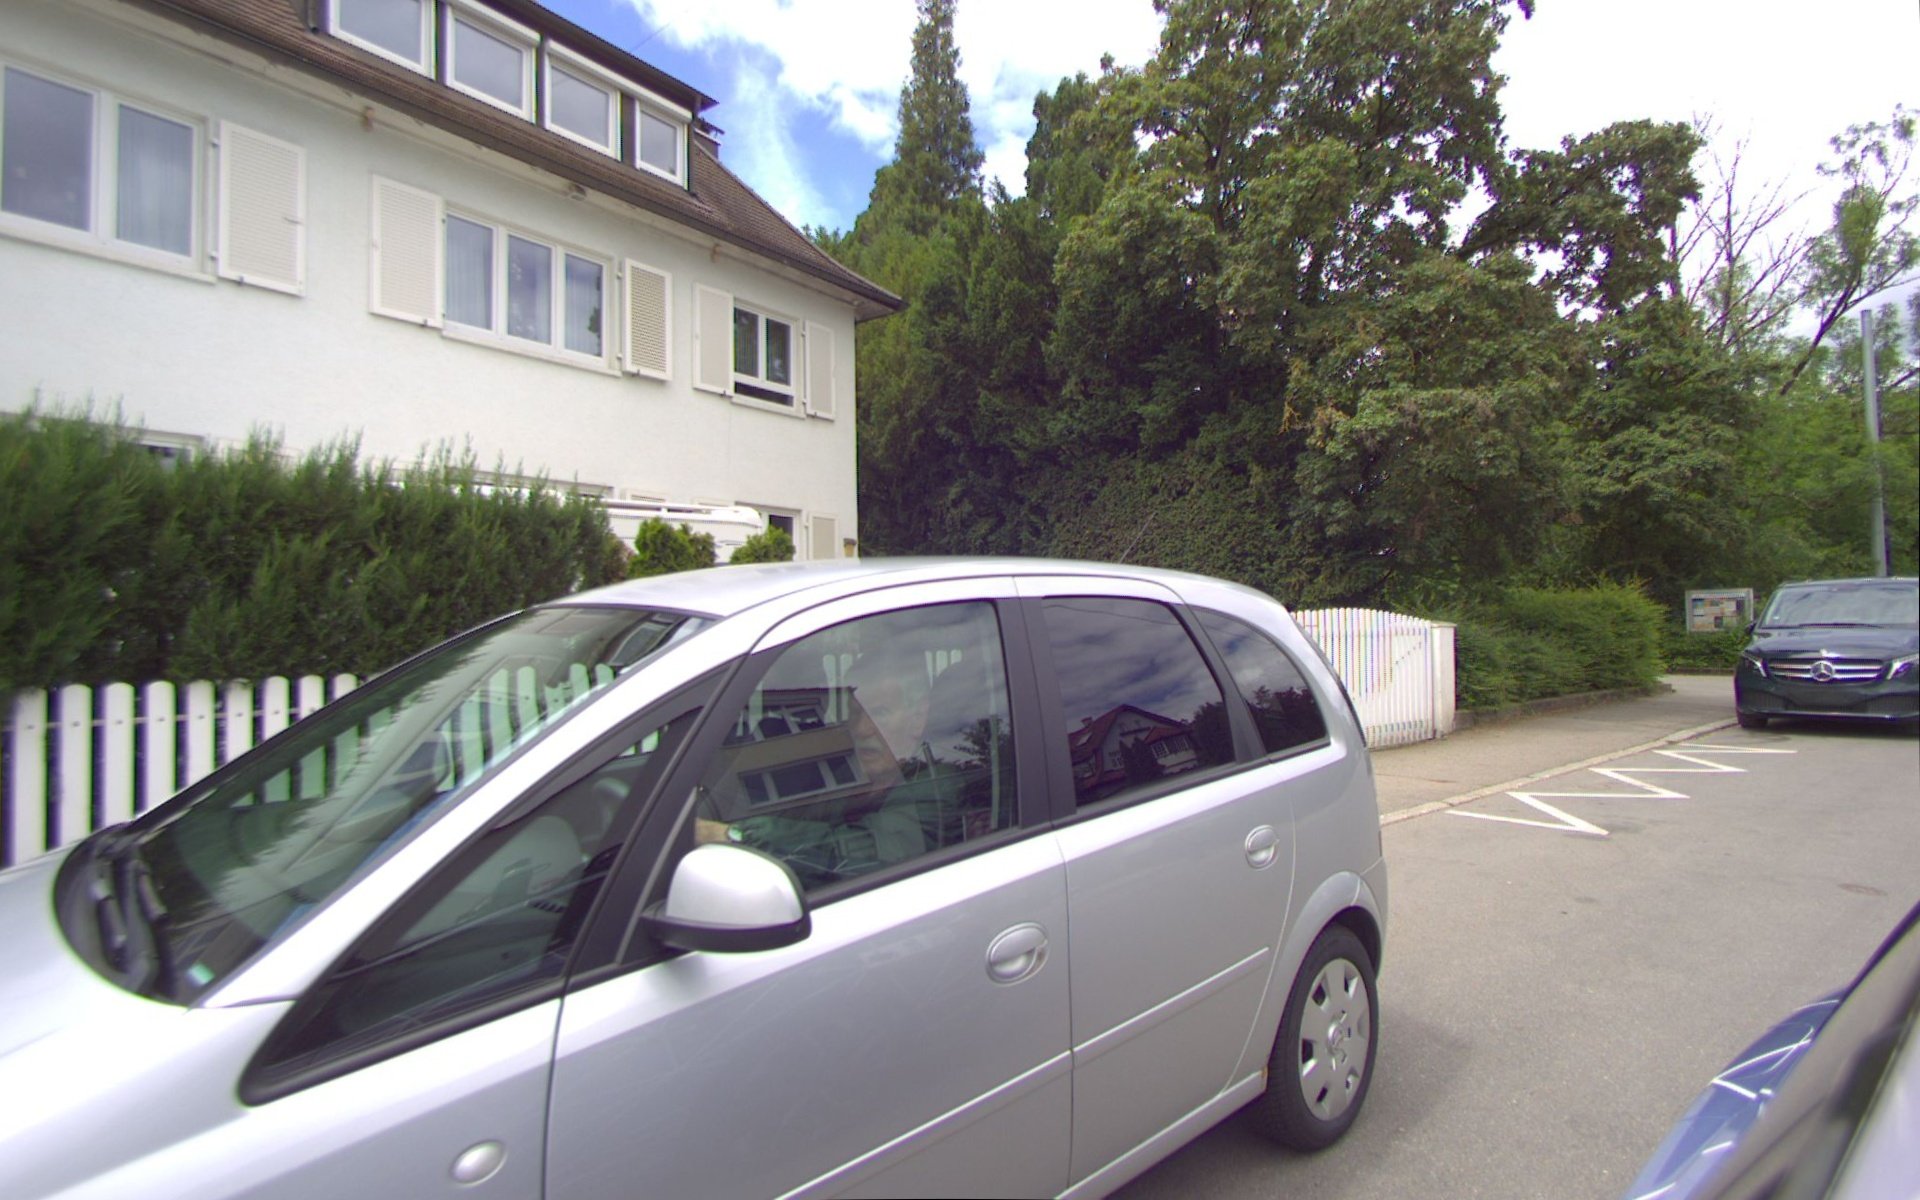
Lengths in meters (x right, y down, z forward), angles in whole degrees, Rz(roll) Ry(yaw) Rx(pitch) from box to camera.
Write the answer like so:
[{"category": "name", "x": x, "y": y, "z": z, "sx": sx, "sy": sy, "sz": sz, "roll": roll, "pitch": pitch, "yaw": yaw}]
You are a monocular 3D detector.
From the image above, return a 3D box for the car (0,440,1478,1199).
[{"category": "car", "x": -0.389, "y": 0.651, "z": 2.516, "sx": 3.951, "sy": 1.602, "sz": 1.761, "roll": 0, "pitch": 0, "yaw": -43}]

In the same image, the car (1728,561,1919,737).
[{"category": "car", "x": 11.692, "y": 0.526, "z": 12.875, "sx": 5.065, "sy": 1.872, "sz": 1.912, "roll": 0, "pitch": -2, "yaw": -40}]

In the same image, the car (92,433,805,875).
[{"category": "car", "x": -4.159, "y": 0.402, "z": 9.030, "sx": 2.492, "sy": 2.717, "sz": 5.113, "roll": -4, "pitch": -3, "yaw": 39}]
